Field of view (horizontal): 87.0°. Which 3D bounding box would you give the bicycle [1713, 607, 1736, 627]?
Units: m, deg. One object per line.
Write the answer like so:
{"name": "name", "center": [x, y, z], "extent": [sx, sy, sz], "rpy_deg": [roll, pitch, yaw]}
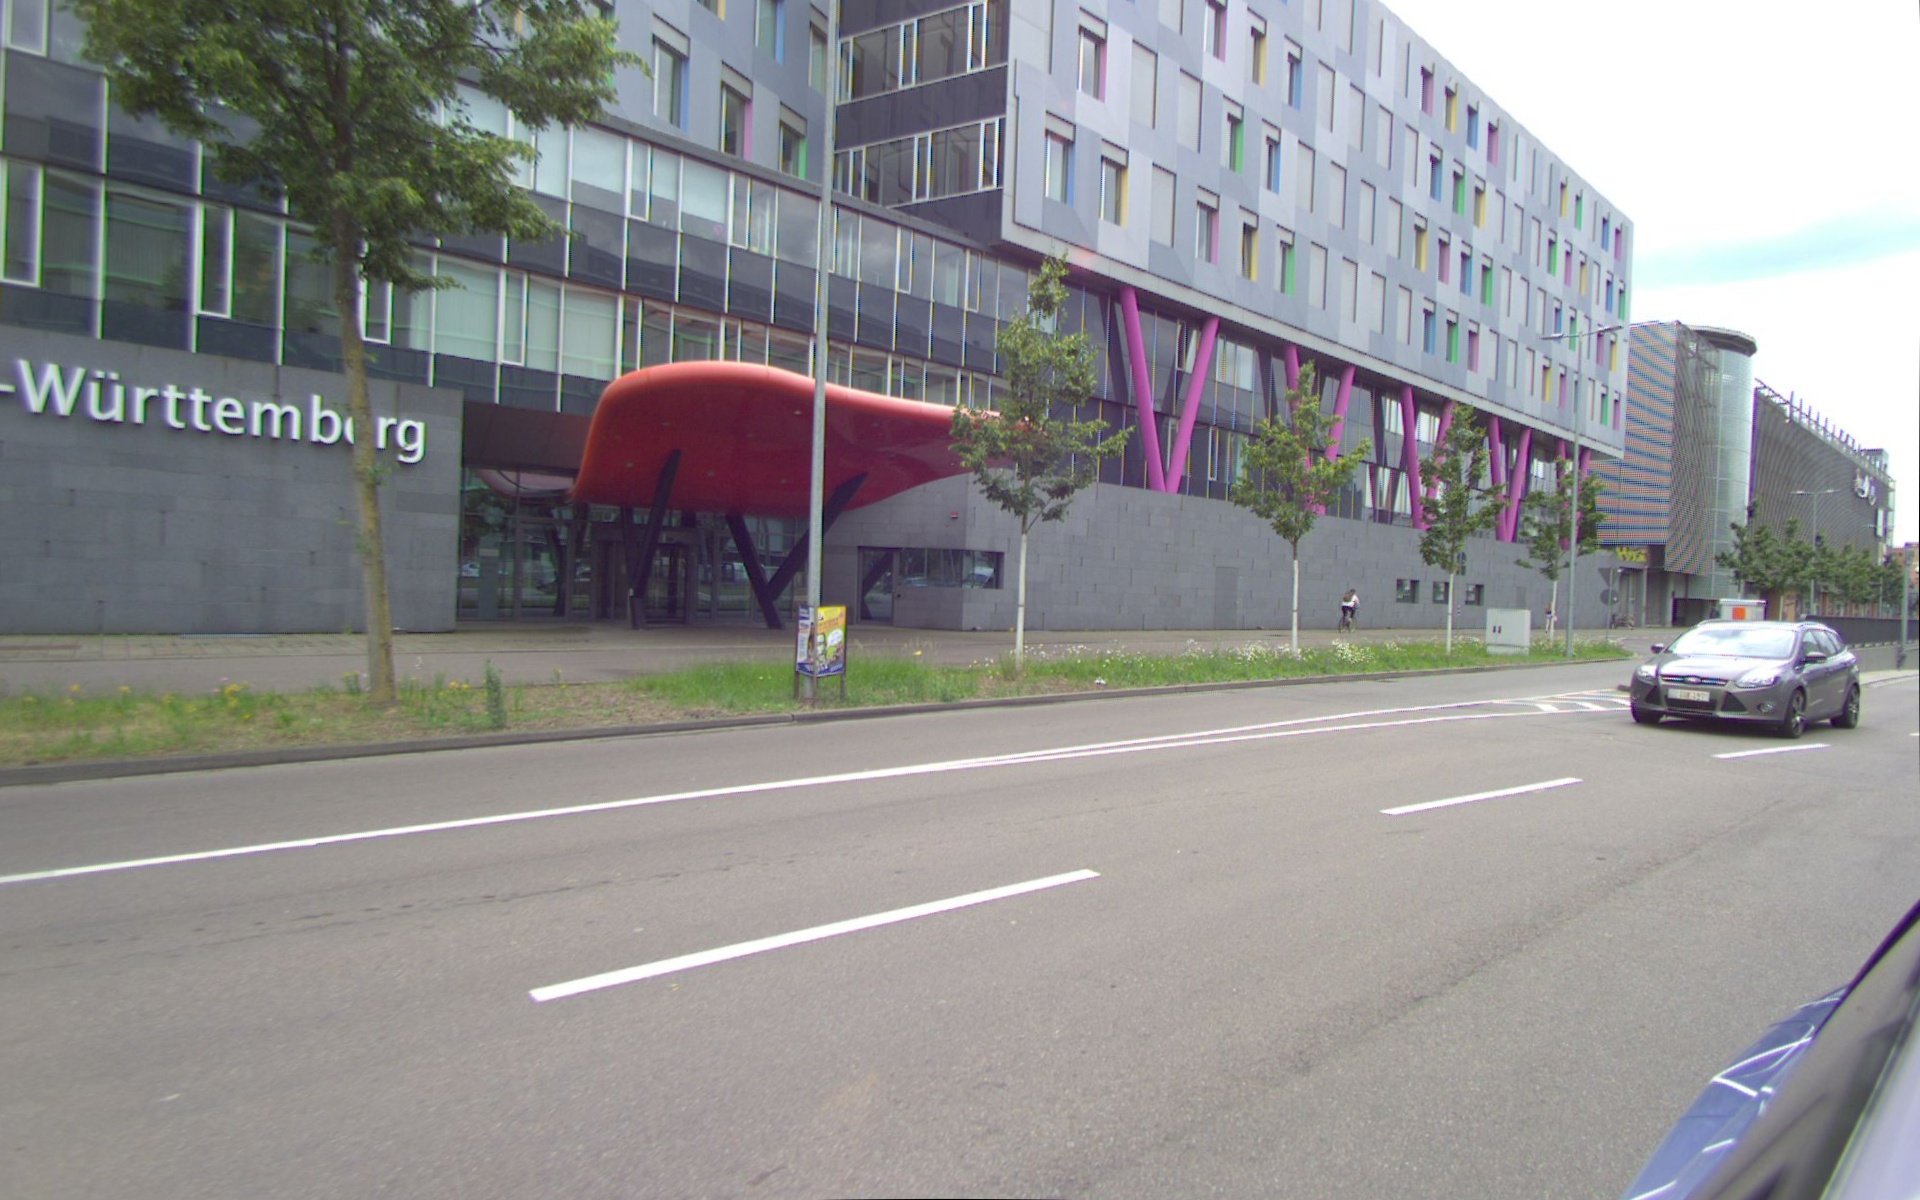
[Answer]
{"name": "bicycle", "center": [52.856, 1.192, 69.923], "extent": [2.303, 1.173, 0.800], "rpy_deg": [7, -3, -42]}

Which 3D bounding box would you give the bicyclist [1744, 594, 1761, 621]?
{"name": "bicyclist", "center": [55.088, 0.528, 70.367], "extent": [0.692, 1.825, 0.783], "rpy_deg": [2, -1, -41]}

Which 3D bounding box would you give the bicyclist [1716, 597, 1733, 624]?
{"name": "bicyclist", "center": [52.714, 0.738, 69.796], "extent": [0.692, 1.826, 0.783], "rpy_deg": [7, -4, -41]}

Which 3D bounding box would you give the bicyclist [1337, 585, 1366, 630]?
{"name": "bicyclist", "center": [15.903, 0.299, 41.144], "extent": [0.770, 1.809, 0.959], "rpy_deg": [3, 1, 41]}

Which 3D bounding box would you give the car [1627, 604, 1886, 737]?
{"name": "car", "center": [11.040, 0.898, 13.941], "extent": [4.188, 1.518, 1.753], "rpy_deg": [2, 0, -37]}

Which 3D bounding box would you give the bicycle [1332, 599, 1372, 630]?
{"name": "bicycle", "center": [15.987, 0.605, 41.252], "extent": [0.782, 1.209, 2.187], "rpy_deg": [3, 1, 41]}

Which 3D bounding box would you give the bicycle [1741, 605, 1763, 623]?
{"name": "bicycle", "center": [55.164, 0.982, 70.447], "extent": [2.304, 1.173, 0.800], "rpy_deg": [2, -1, -42]}
